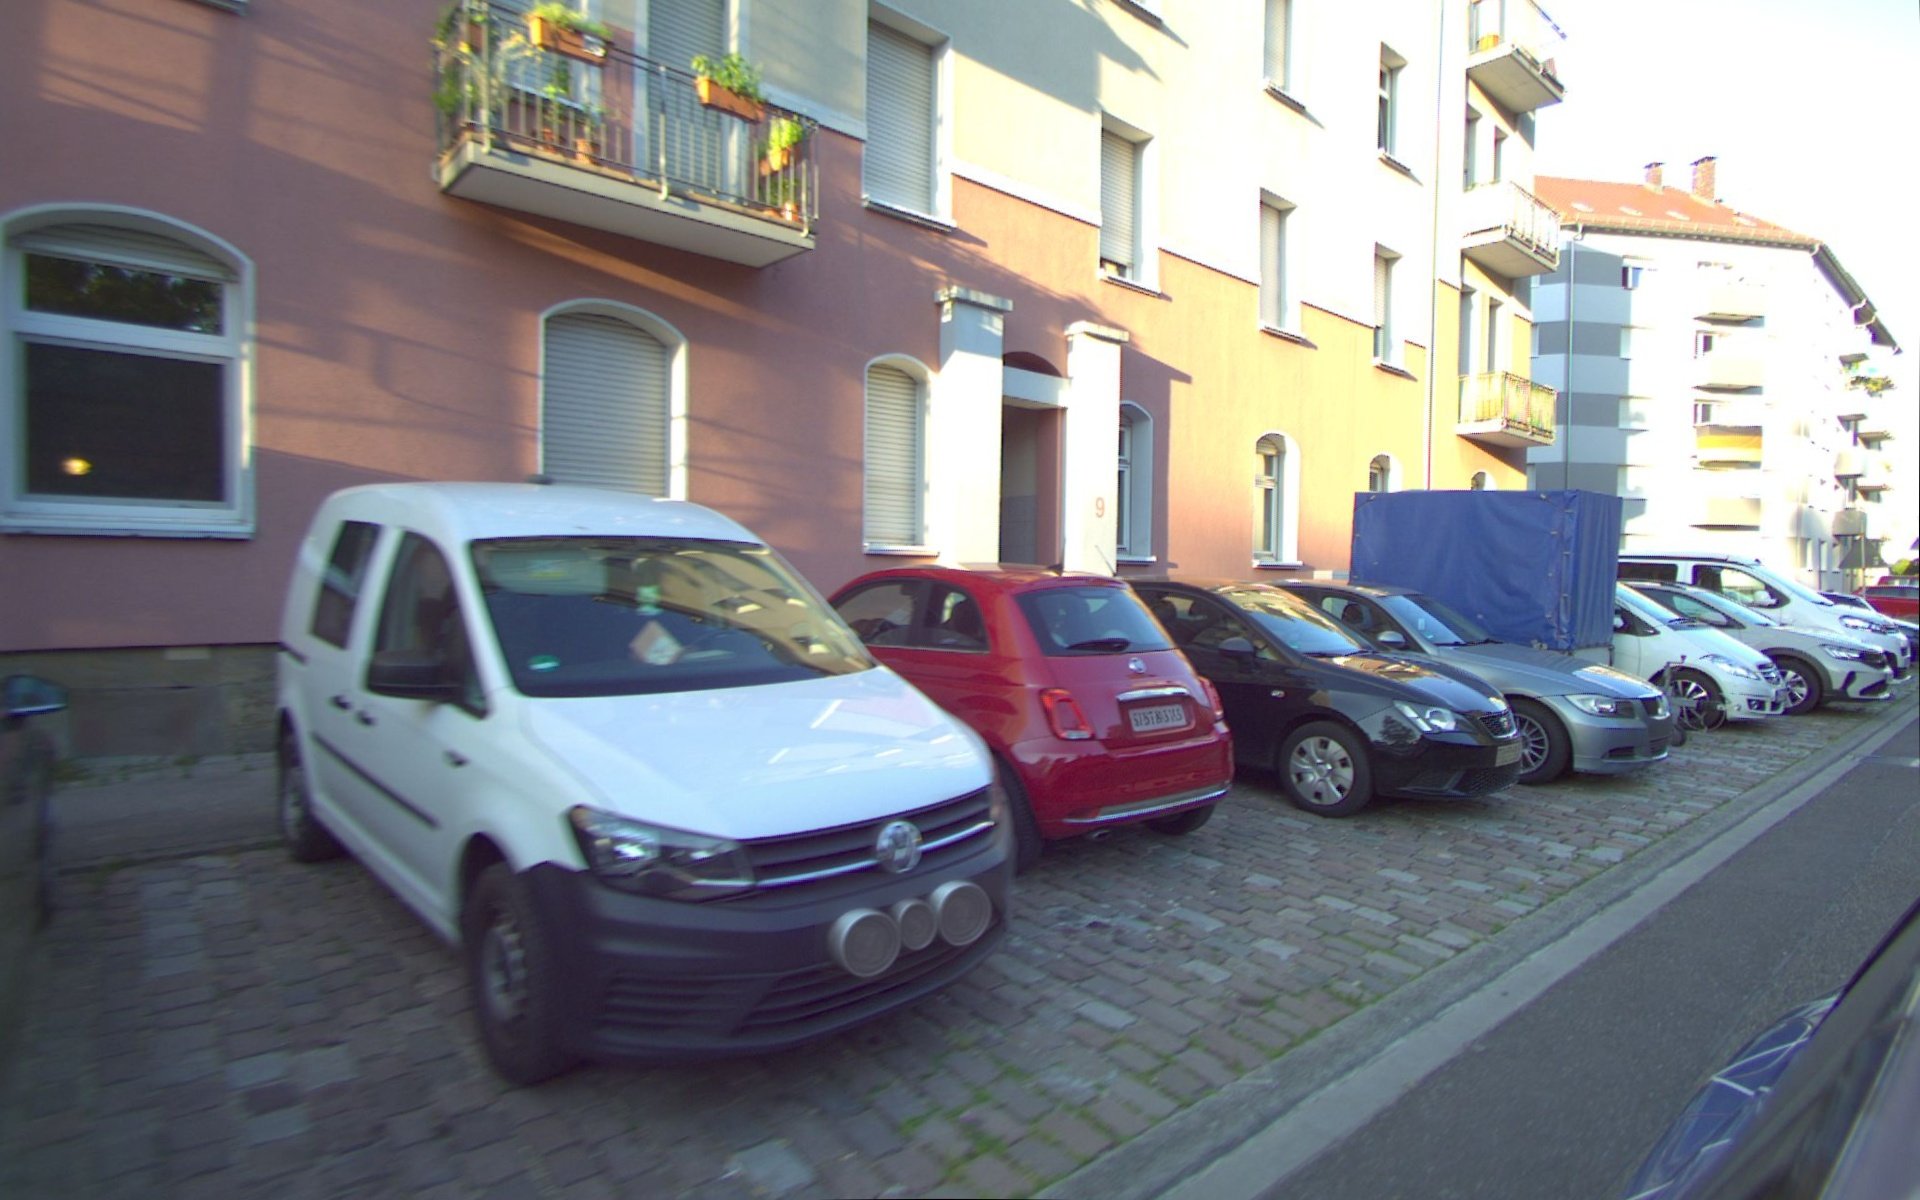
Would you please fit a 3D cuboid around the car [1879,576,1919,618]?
[{"bbox_3d":[39.379,-0.106,40.266,1.966,1.682,3.992,-1,1,-42],"label":"car"}]

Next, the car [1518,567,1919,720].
[{"bbox_3d":[9.734,0.415,13.118,1.966,1.660,3.992,-2,2,-42],"label":"car"}]

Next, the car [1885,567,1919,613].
[{"bbox_3d":[43.304,-0.429,43.760,1.965,2.025,4.683,-1,1,-40],"label":"car"}]

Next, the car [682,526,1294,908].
[{"bbox_3d":[-0.063,0.454,6.266,1.716,1.630,3.696,-1,2,-43],"label":"car"}]

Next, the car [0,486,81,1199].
[{"bbox_3d":[-3.229,0.581,2.188,1.838,1.635,4.163,-1,1,-39],"label":"car"}]

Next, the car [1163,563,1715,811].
[{"bbox_3d":[3.980,0.532,8.871,1.872,1.658,3.991,-1,2,-43],"label":"car"}]

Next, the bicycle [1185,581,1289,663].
[{"bbox_3d":[3.929,0.277,14.272,1.872,1.074,0.516,-1,1,-43],"label":"bicycle"}]

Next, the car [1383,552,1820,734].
[{"bbox_3d":[7.366,0.350,11.903,1.966,1.749,3.992,-2,3,-42],"label":"car"}]

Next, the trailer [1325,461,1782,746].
[{"bbox_3d":[5.916,-0.085,10.350,1.909,2.365,3.572,-1,4,-43],"label":"trailer"}]

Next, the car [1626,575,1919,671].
[{"bbox_3d":[14.752,0.326,18.477,1.966,1.549,3.992,-1,2,-42],"label":"car"}]

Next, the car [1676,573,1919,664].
[{"bbox_3d":[16.621,0.287,19.708,1.824,1.605,4.106,-1,2,-43],"label":"car"}]

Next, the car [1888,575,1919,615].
[{"bbox_3d":[41.178,-0.209,41.850,1.755,1.649,3.991,-1,1,-43],"label":"car"}]

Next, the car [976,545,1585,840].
[{"bbox_3d":[2.126,0.449,7.506,1.759,1.591,3.968,-1,2,-43],"label":"car"}]

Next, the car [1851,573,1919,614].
[{"bbox_3d":[37.228,-0.246,38.864,1.889,1.560,4.310,-1,1,-39],"label":"car"}]

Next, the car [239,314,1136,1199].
[{"bbox_3d":[-1.568,0.261,4.338,1.792,2.004,4.269,0,3,-45],"label":"car"}]

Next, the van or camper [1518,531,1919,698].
[{"bbox_3d":[11.408,0.129,15.293,2.005,2.122,4.842,-1,1,-41],"label":"van or camper"}]
